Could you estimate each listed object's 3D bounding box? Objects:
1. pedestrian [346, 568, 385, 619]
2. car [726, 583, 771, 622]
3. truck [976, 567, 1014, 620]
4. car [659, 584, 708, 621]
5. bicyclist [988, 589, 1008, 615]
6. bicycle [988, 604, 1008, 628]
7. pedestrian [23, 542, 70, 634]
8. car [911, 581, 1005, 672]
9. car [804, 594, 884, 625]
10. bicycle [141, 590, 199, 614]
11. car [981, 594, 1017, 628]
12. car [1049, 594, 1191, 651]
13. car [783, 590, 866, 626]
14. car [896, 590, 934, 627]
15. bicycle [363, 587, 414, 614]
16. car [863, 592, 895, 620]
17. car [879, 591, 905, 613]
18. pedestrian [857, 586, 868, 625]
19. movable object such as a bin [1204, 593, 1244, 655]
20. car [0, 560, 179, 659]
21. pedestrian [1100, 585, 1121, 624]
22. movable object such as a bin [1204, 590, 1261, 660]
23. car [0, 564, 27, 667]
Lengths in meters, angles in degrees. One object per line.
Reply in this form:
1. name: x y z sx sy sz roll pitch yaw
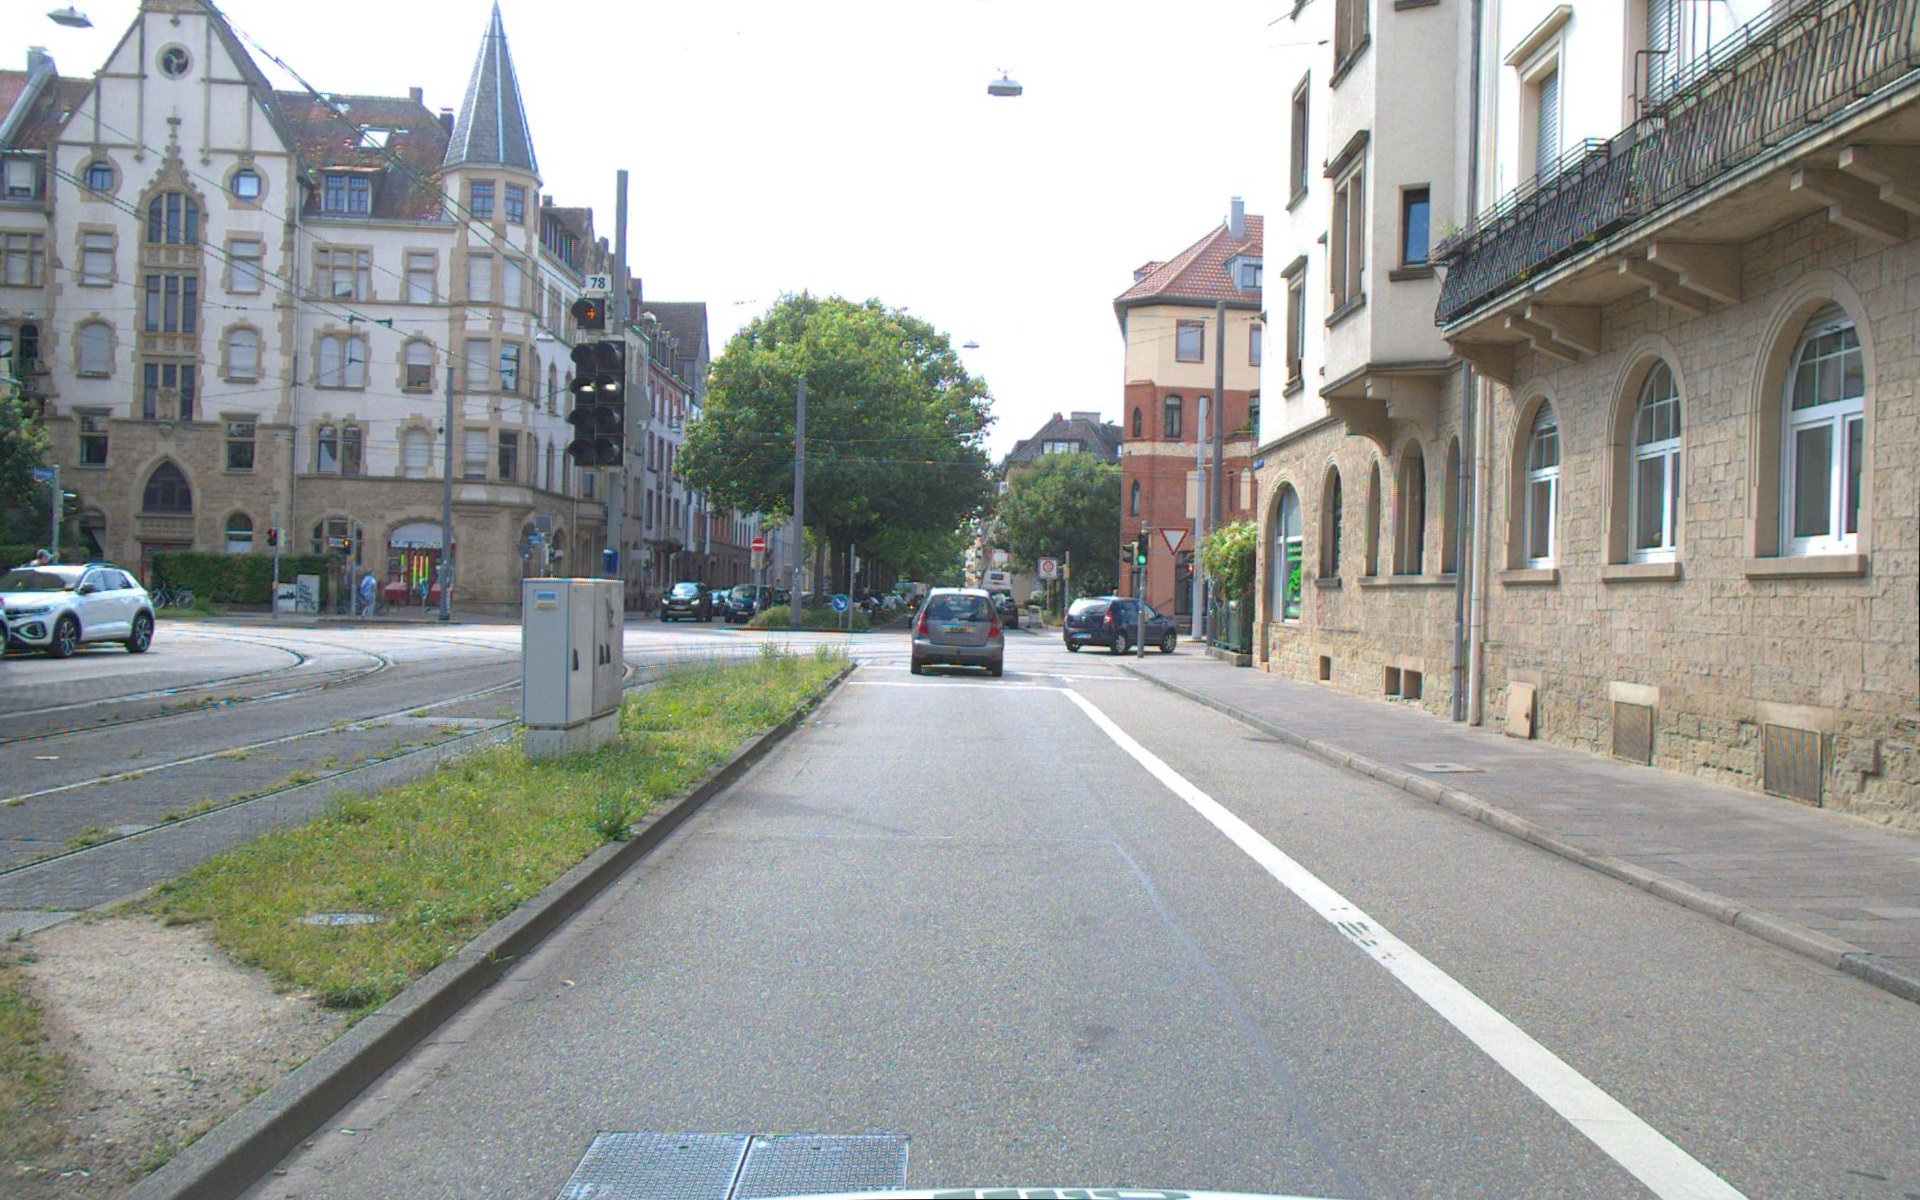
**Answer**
1. pedestrian: -20.658 -0.214 57.447 1.016 1.752 0.763 2 0 -45
2. car: -10.023 0.117 78.576 1.955 1.758 3.995 1 0 -5
3. truck: 2.076 -0.371 98.062 2.078 3.022 4.002 1 0 3
4. car: -12.858 0.102 77.027 1.955 1.646 3.995 1 0 -5
5. bicyclist: 1.651 0.105 71.423 0.819 1.101 1.401 1 0 3
6. bicycle: 1.648 0.687 71.515 0.733 0.975 2.300 1 0 3
7. pedestrian: -18.654 -0.244 33.791 0.750 1.827 0.952 1 0 -25
8. car: -0.025 0.482 31.857 1.687 1.633 3.677 1 0 0
9. car: -5.614 0.446 79.883 1.955 1.362 3.944 1 0 -39
10. bicycle: -29.419 0.071 61.636 1.881 0.863 0.469 1 0 -11
11. car: 2.036 0.538 85.204 1.715 1.661 3.501 1 0 3
12. car: 4.472 0.615 45.913 1.952 1.467 3.975 2 0 42
13. car: -6.357 0.364 77.261 1.955 1.521 3.944 1 0 -39
14. car: -2.136 0.394 79.975 1.687 1.736 3.677 1 0 0
15. bicycle: -23.245 0.019 67.305 1.881 1.100 0.776 1 0 -11
16. car: -4.955 0.343 101.796 1.716 1.661 3.499 1 0 0
17. car: -5.032 0.149 122.318 1.716 1.543 3.499 1 0 0
18. pedestrian: -4.426 0.231 75.046 0.483 1.755 0.653 1 0 -4
19. movable object such as a bin: 6.475 0.590 40.581 0.701 1.497 0.980 1 0 -9
20. car: -15.448 0.133 28.487 1.893 1.561 4.258 1 0 1
21. pedestrian: 6.483 0.191 71.461 0.850 1.685 0.737 1 0 4
22. movable object such as a bin: 6.288 0.570 38.289 1.028 1.566 2.100 1 0 2
23. car: -15.541 0.222 23.801 1.893 1.557 4.014 1 0 1
